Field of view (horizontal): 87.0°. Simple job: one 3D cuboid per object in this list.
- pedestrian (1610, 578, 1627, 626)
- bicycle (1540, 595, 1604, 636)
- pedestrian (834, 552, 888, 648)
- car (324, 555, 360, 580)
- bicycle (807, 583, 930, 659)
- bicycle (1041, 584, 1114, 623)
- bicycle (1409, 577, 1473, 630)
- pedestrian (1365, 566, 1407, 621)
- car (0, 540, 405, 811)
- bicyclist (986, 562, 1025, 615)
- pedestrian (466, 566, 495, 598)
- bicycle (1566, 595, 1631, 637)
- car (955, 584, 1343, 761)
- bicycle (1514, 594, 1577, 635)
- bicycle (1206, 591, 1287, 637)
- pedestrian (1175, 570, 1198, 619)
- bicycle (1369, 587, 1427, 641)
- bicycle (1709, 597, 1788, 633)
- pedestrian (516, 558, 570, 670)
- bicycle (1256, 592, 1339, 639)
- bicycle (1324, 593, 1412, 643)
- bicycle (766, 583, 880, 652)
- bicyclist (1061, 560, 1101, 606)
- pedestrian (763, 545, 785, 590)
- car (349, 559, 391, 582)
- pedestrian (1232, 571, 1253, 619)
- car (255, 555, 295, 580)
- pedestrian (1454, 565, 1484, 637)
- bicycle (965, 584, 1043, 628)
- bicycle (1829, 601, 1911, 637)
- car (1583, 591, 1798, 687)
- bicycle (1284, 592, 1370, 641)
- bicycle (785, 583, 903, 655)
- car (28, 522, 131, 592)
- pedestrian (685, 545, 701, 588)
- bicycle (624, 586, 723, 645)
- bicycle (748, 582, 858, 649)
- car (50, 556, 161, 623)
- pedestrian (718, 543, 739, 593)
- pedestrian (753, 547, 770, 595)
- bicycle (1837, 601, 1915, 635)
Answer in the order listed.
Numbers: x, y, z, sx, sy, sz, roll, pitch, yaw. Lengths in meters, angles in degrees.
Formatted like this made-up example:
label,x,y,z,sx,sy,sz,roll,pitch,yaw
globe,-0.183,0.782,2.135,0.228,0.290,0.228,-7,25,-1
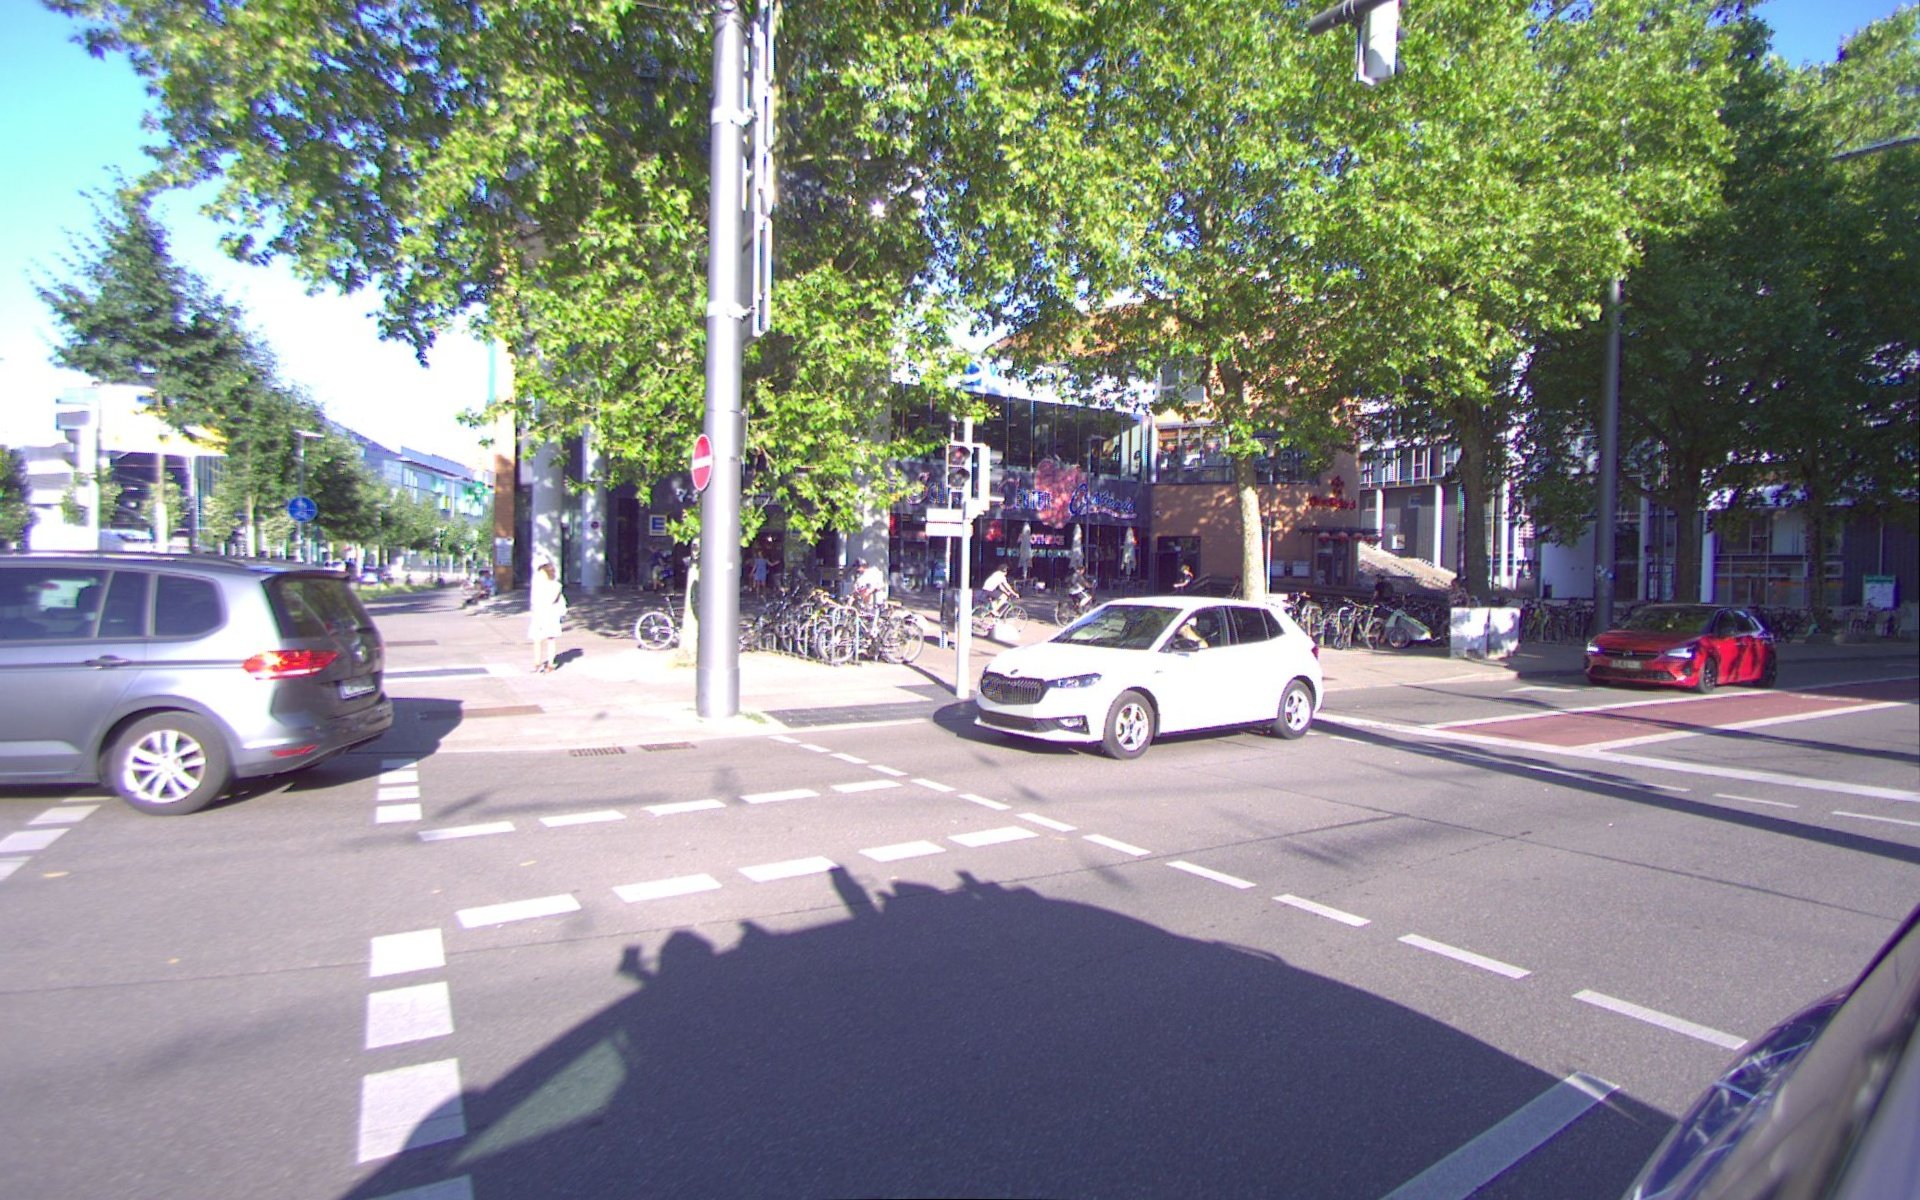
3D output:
label,x,y,z,sx,sy,sz,roll,pitch,yaw
pedestrian,21.810,0.060,33.512,0.407,1.574,0.443,2,1,31
bicycle,16.567,0.405,27.380,1.907,1.077,0.579,0,1,-29
pedestrian,-1.901,0.000,19.330,0.874,1.787,0.732,1,0,-17
car,-53.106,-2.772,87.031,1.578,2.038,3.896,1,2,-15
bicycle,-1.456,0.315,16.290,1.808,1.143,0.776,0,2,-34
bicycle,3.400,0.088,29.370,1.972,1.080,0.697,1,1,-14
bicycle,11.953,0.037,25.288,0.772,1.204,3.542,1,2,15
pedestrian,12.509,-0.196,29.699,0.859,1.561,0.766,0,2,-35
car,-6.248,0.430,6.806,4.088,1.623,1.622,2,1,-11
bicyclist,1.195,-0.317,26.873,0.940,1.361,0.675,1,1,-2
pedestrian,-16.694,-0.636,35.261,0.763,1.094,0.680,0,2,-41
bicycle,16.905,0.417,26.765,1.907,1.077,0.579,0,1,-29
car,2.022,0.599,10.336,3.924,1.470,1.636,0,1,-36
bicycle,16.281,0.391,28.123,1.907,1.077,0.579,0,1,-29
bicycle,7.108,0.338,25.100,1.907,1.077,0.785,0,1,-29
pedestrian,7.897,-0.190,35.332,0.558,1.690,0.545,1,1,-15
bicycle,10.843,0.305,25.176,0.772,1.204,3.542,1,2,15
bicycle,25.699,0.464,33.011,0.567,1.077,1.946,0,2,-36
pedestrian,-5.980,0.192,14.527,0.562,1.557,0.484,1,1,2
bicycle,8.089,0.360,24.257,1.907,1.077,0.785,0,1,-29
bicycle,9.167,0.394,22.728,1.907,1.077,0.785,0,1,-29
bicycle,-2.393,0.283,17.771,1.808,1.143,0.776,0,2,-34
bicyclist,3.499,-0.491,29.364,0.939,1.315,0.676,1,1,-14
pedestrian,-7.035,-1.214,38.237,0.556,1.677,0.587,2,1,27
car,-43.929,-2.200,75.417,1.755,1.613,4.010,1,2,-17
pedestrian,10.056,-0.178,36.055,0.533,1.690,0.571,1,1,0
car,-48.840,-2.327,72.203,1.637,1.660,4.009,1,2,-23
pedestrian,12.073,0.017,24.014,0.566,1.690,0.538,2,1,31
bicycle,1.158,0.153,26.888,1.975,1.080,0.696,1,1,-2
bicycle,30.255,0.616,33.666,0.567,1.077,1.946,0,2,-36
car,12.494,0.592,17.250,3.922,1.446,1.693,0,1,-34
bicycle,8.532,0.376,23.516,1.907,1.077,0.785,0,1,-29
bicycle,-1.944,0.299,17.047,1.808,1.143,0.776,0,2,-34
car,-34.230,-1.621,39.530,1.960,2.511,5.980,0,1,-31
pedestrian,-10.129,-1.285,38.436,0.350,1.620,0.451,2,2,42
bicycle,-5.278,0.278,18.668,1.665,1.049,0.550,0,1,-29
bicycle,-2.859,0.269,18.459,1.808,1.143,0.776,0,2,-34
car,-22.841,-0.302,27.187,1.830,1.652,4.264,0,1,-34
pedestrian,-8.305,-1.142,36.389,0.582,1.777,0.595,1,1,2
pedestrian,-7.170,-1.045,36.537,0.583,1.677,0.594,1,1,-11
bicycle,31.879,0.610,35.246,0.567,1.077,1.946,0,2,-36
